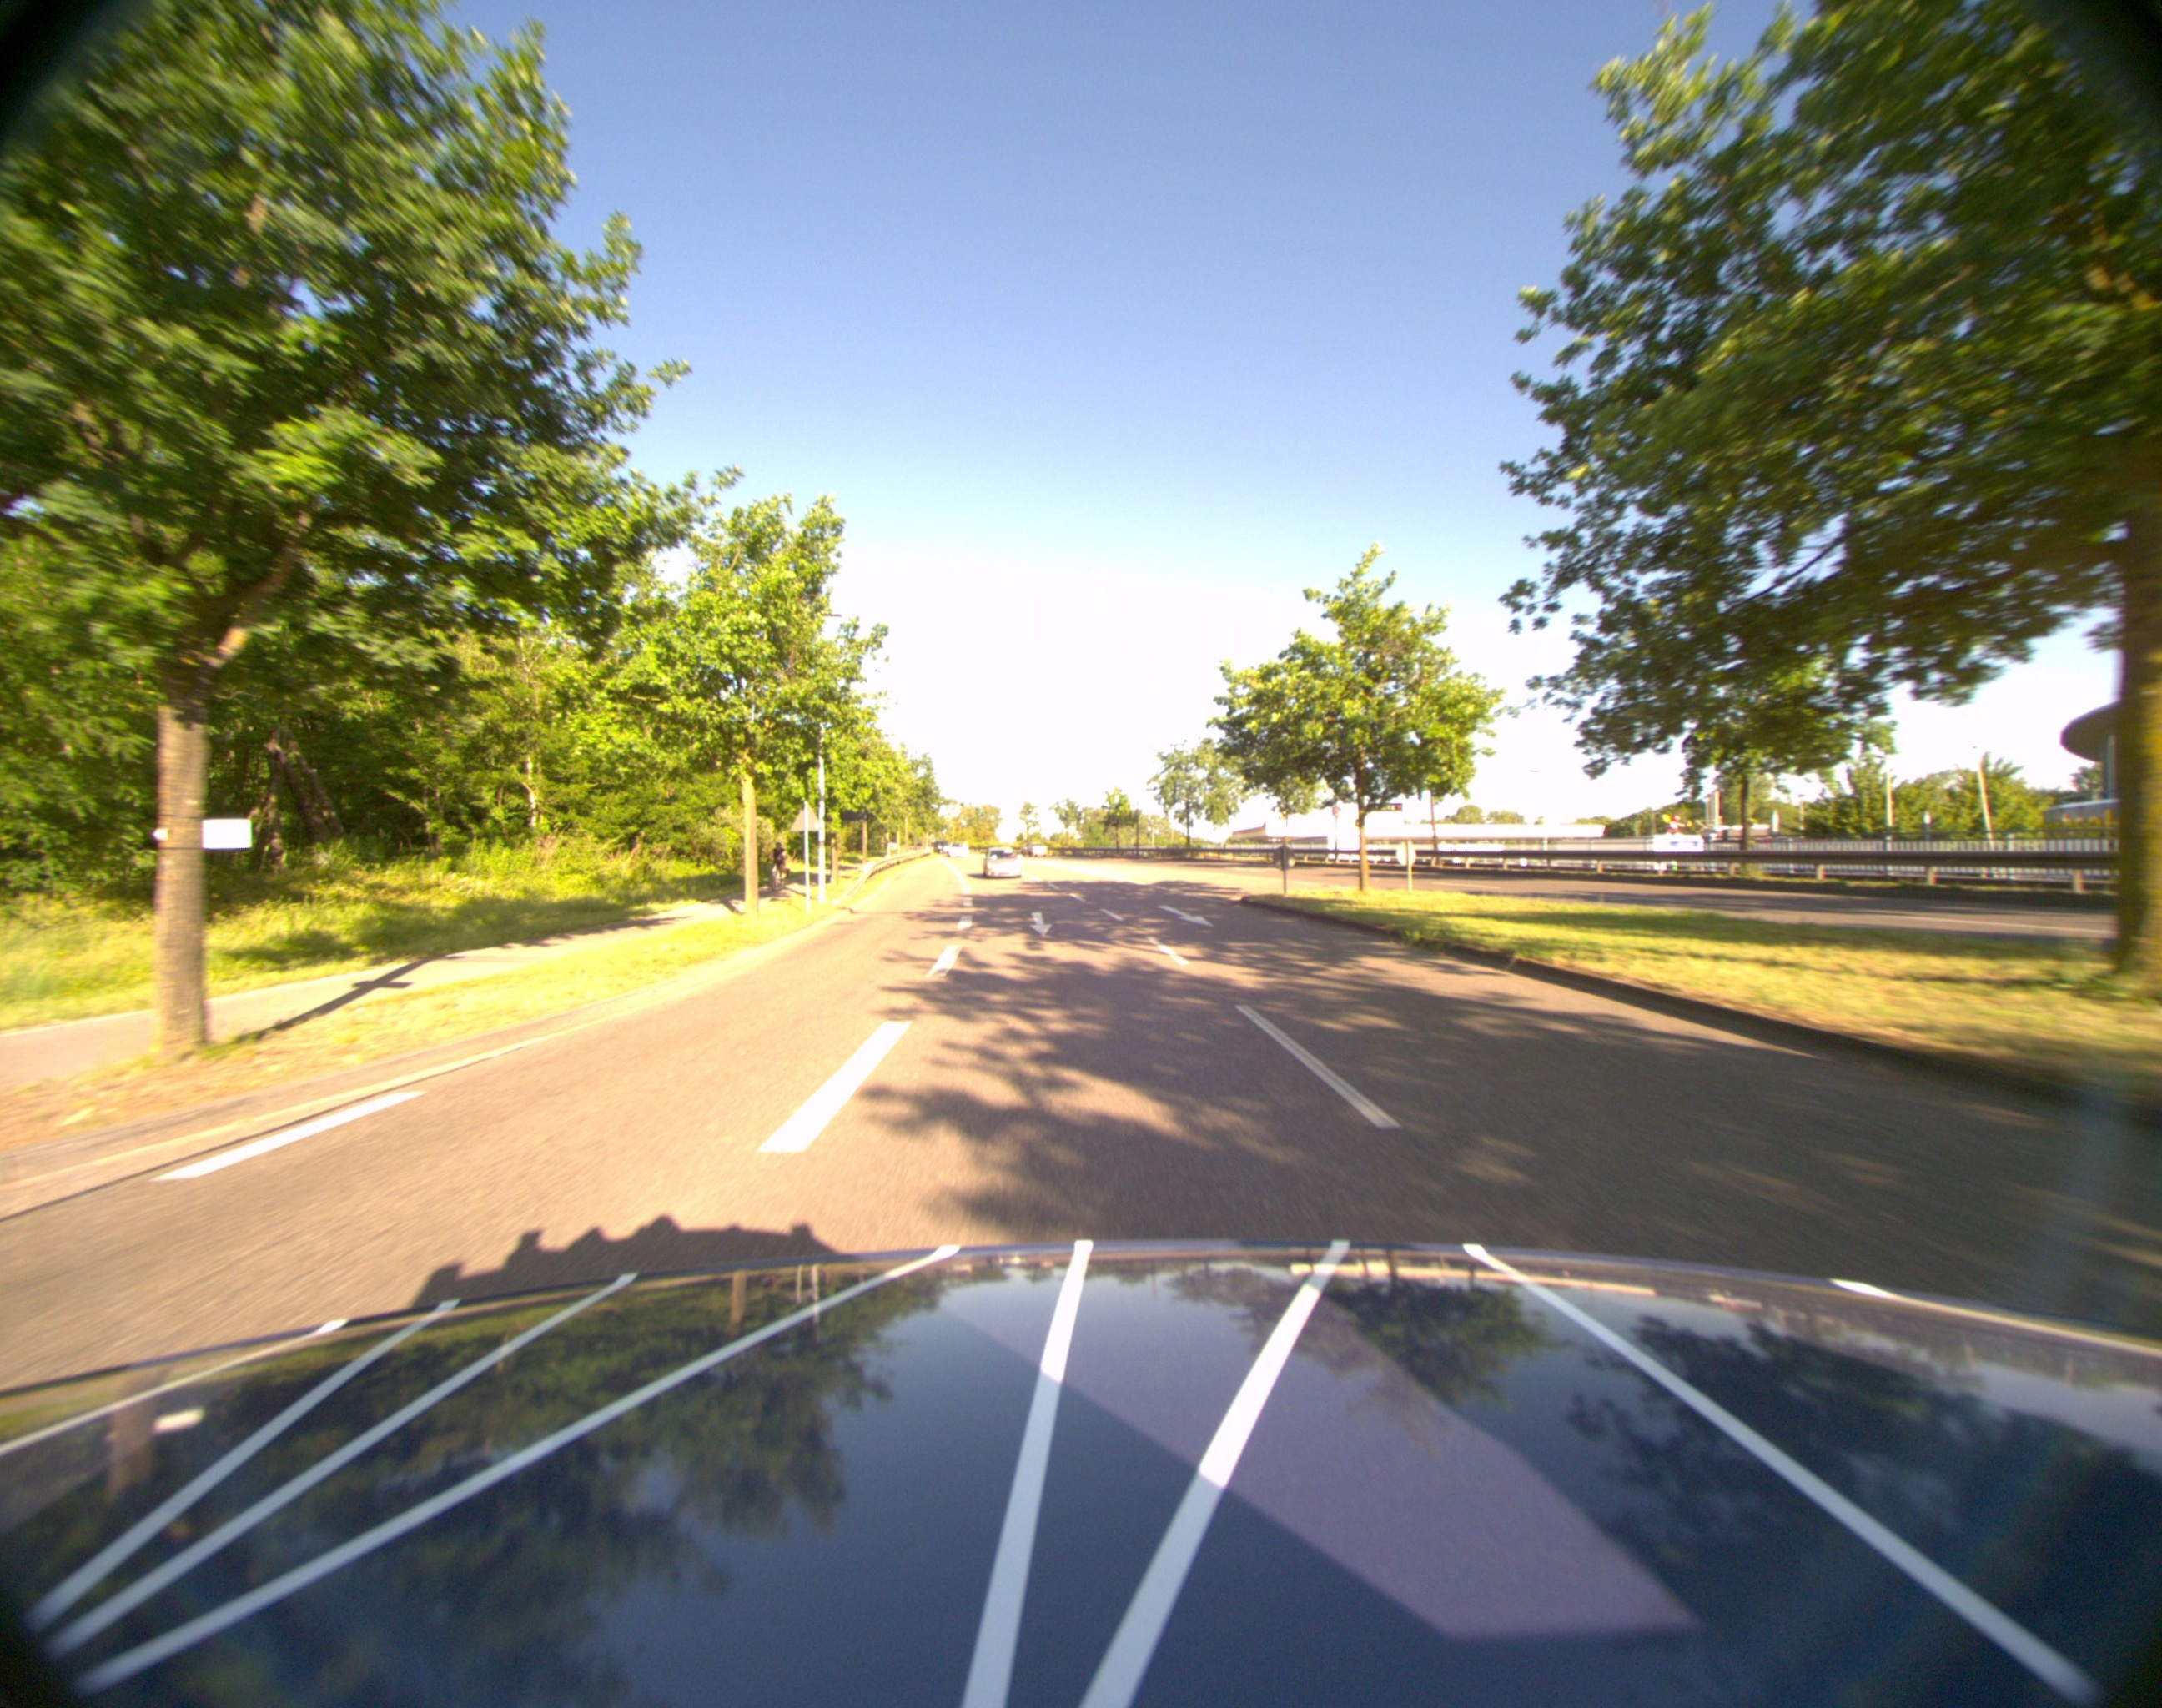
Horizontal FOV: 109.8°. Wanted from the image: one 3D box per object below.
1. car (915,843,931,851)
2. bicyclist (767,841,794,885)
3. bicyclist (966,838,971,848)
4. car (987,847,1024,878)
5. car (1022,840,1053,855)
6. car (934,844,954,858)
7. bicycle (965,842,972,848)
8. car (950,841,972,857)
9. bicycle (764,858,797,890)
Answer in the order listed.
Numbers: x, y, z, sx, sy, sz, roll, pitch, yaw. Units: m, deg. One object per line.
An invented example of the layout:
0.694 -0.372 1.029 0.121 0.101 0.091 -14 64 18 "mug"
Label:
-28.213 -1.256 135.542 1.770 1.481 4.267 -3 2 -25 "car"
-11.084 0.328 28.020 0.710 1.569 1.003 1 1 -9 "bicyclist"
-18.372 -1.839 124.063 0.654 1.614 0.872 1 1 -23 "bicyclist"
-3.702 0.379 37.393 1.684 1.433 3.856 0 1 -5 "car"
-4.364 -0.698 75.684 1.737 1.378 4.487 -2 2 -22 "car"
-17.111 -0.394 94.814 2.001 1.707 4.265 -1 0 -16 "car"
-18.386 -1.474 124.075 0.663 1.089 2.103 1 1 -22 "bicycle"
-12.564 -0.558 79.532 2.151 1.558 4.194 2 1 -9 "car"
-11.089 0.727 28.058 0.703 1.068 1.919 1 1 -9 "bicycle"
